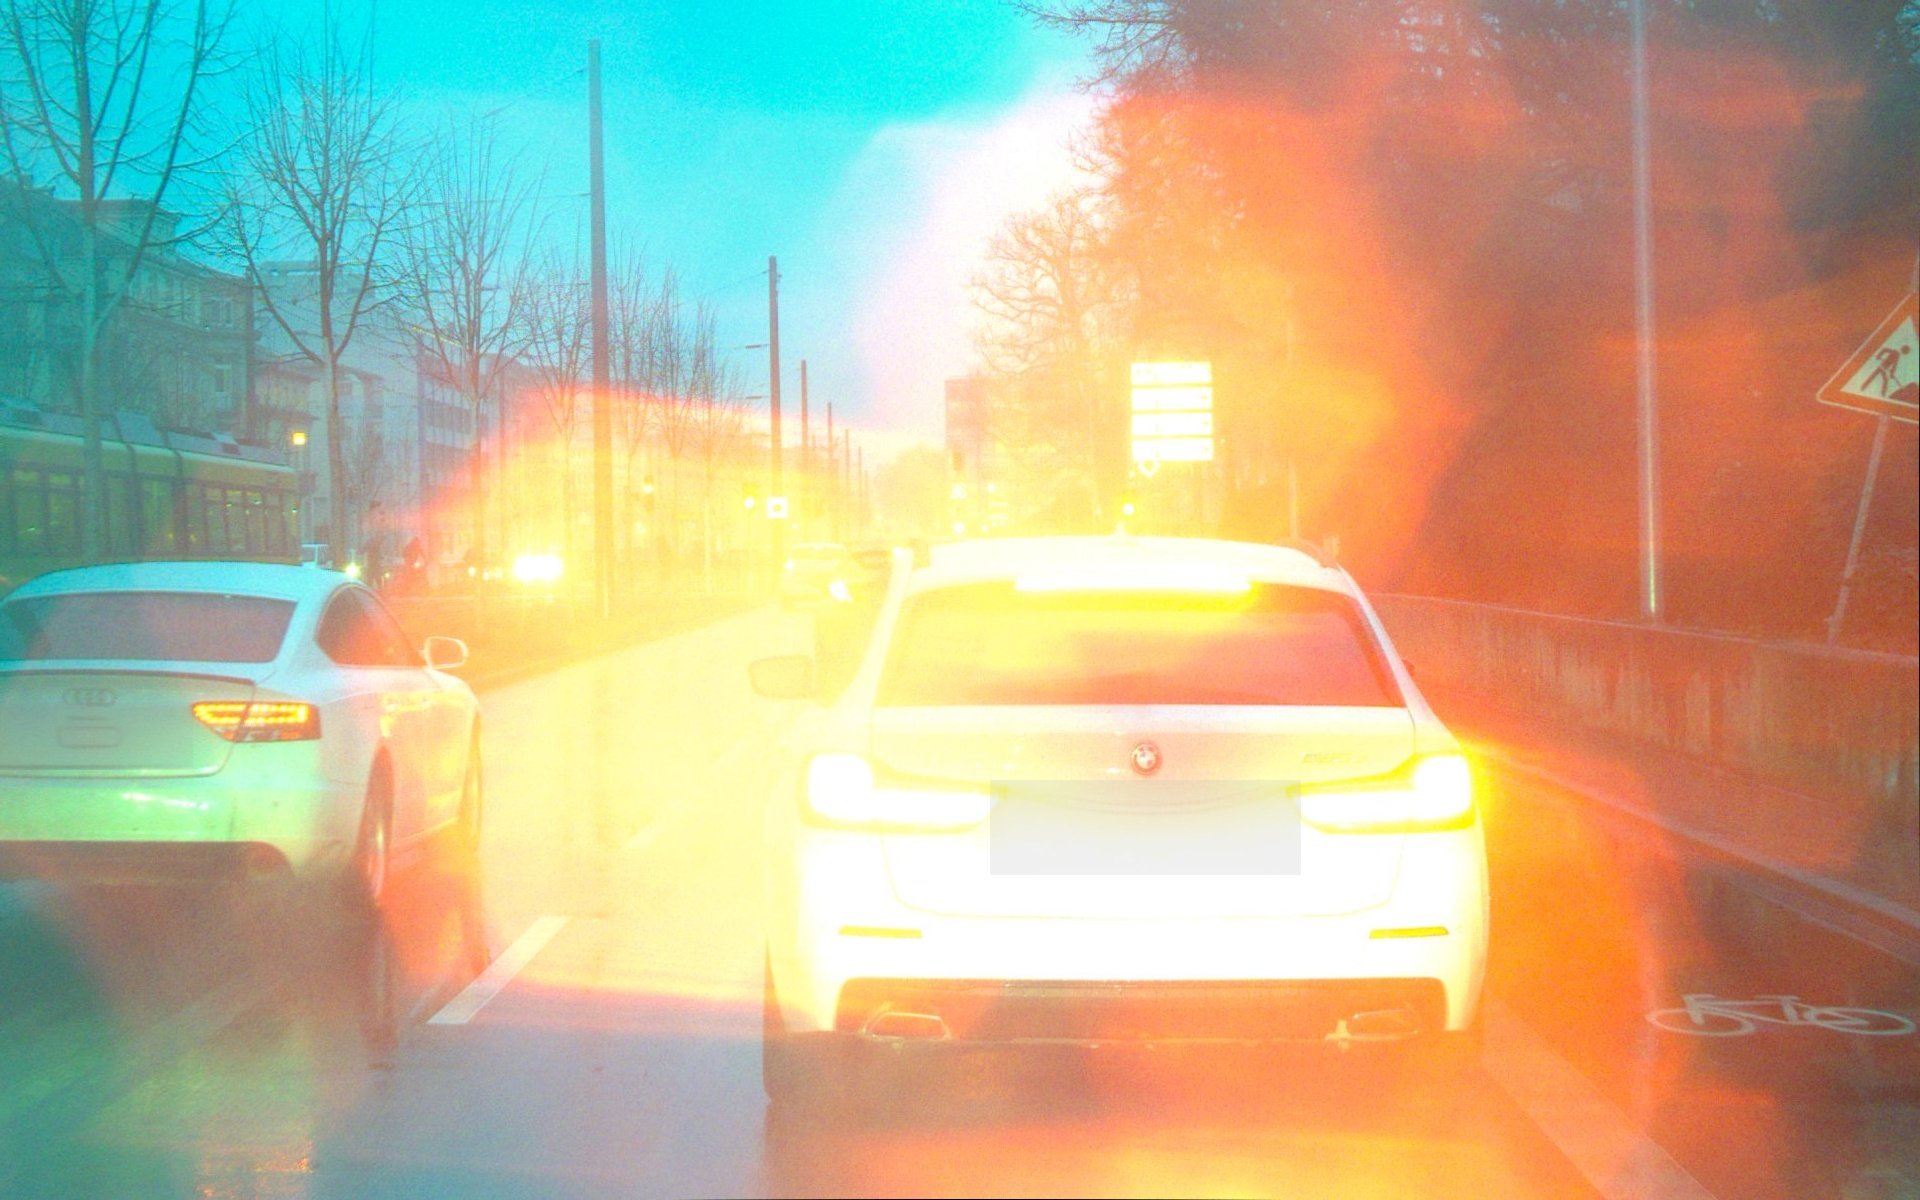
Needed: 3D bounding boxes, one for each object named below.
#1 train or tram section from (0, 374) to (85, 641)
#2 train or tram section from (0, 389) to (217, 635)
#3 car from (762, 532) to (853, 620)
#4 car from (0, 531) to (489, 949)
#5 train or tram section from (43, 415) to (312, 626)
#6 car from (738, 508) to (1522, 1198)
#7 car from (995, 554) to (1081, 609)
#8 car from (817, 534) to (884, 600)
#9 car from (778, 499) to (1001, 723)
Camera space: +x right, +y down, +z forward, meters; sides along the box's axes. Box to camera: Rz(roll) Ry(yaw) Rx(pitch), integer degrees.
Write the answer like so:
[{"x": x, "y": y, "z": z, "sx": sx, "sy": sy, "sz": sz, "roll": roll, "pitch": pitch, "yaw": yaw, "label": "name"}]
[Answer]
[{"x": -13.971, "y": -1.174, "z": 44.730, "sx": 2.842, "sy": 3.492, "sz": 9.158, "roll": -2, "pitch": 1, "yaw": -1, "label": "train or tram section"}, {"x": -14.078, "y": -1.295, "z": 53.925, "sx": 2.842, "sy": 3.492, "sz": 9.158, "roll": -2, "pitch": 1, "yaw": -1, "label": "train or tram section"}, {"x": -3.549, "y": -0.577, "z": 80.510, "sx": 1.993, "sy": 2.007, "sz": 4.000, "roll": 0, "pitch": 1, "yaw": -1, "label": "car"}, {"x": -3.077, "y": 0.463, "z": 14.202, "sx": 1.759, "sy": 1.464, "sz": 4.252, "roll": 0, "pitch": 1, "yaw": -1, "label": "car"}, {"x": -14.170, "y": -1.412, "z": 63.079, "sx": 2.842, "sy": 3.492, "sz": 9.158, "roll": -2, "pitch": 1, "yaw": -1, "label": "train or tram section"}, {"x": 0.271, "y": 0.545, "z": 9.865, "sx": 1.759, "sy": 1.547, "sz": 4.252, "roll": 0, "pitch": 1, "yaw": -3, "label": "car"}, {"x": 2.933, "y": -0.709, "z": 128.147, "sx": 1.995, "sy": 2.007, "sz": 3.996, "roll": 1, "pitch": 1, "yaw": 20, "label": "car"}, {"x": -3.406, "y": -1.035, "z": 107.411, "sx": 1.993, "sy": 2.007, "sz": 4.000, "roll": 0, "pitch": 1, "yaw": -1, "label": "car"}, {"x": -0.659, "y": 0.072, "z": 33.067, "sx": 1.993, "sy": 2.007, "sz": 4.000, "roll": 0, "pitch": 1, "yaw": -1, "label": "car"}]
